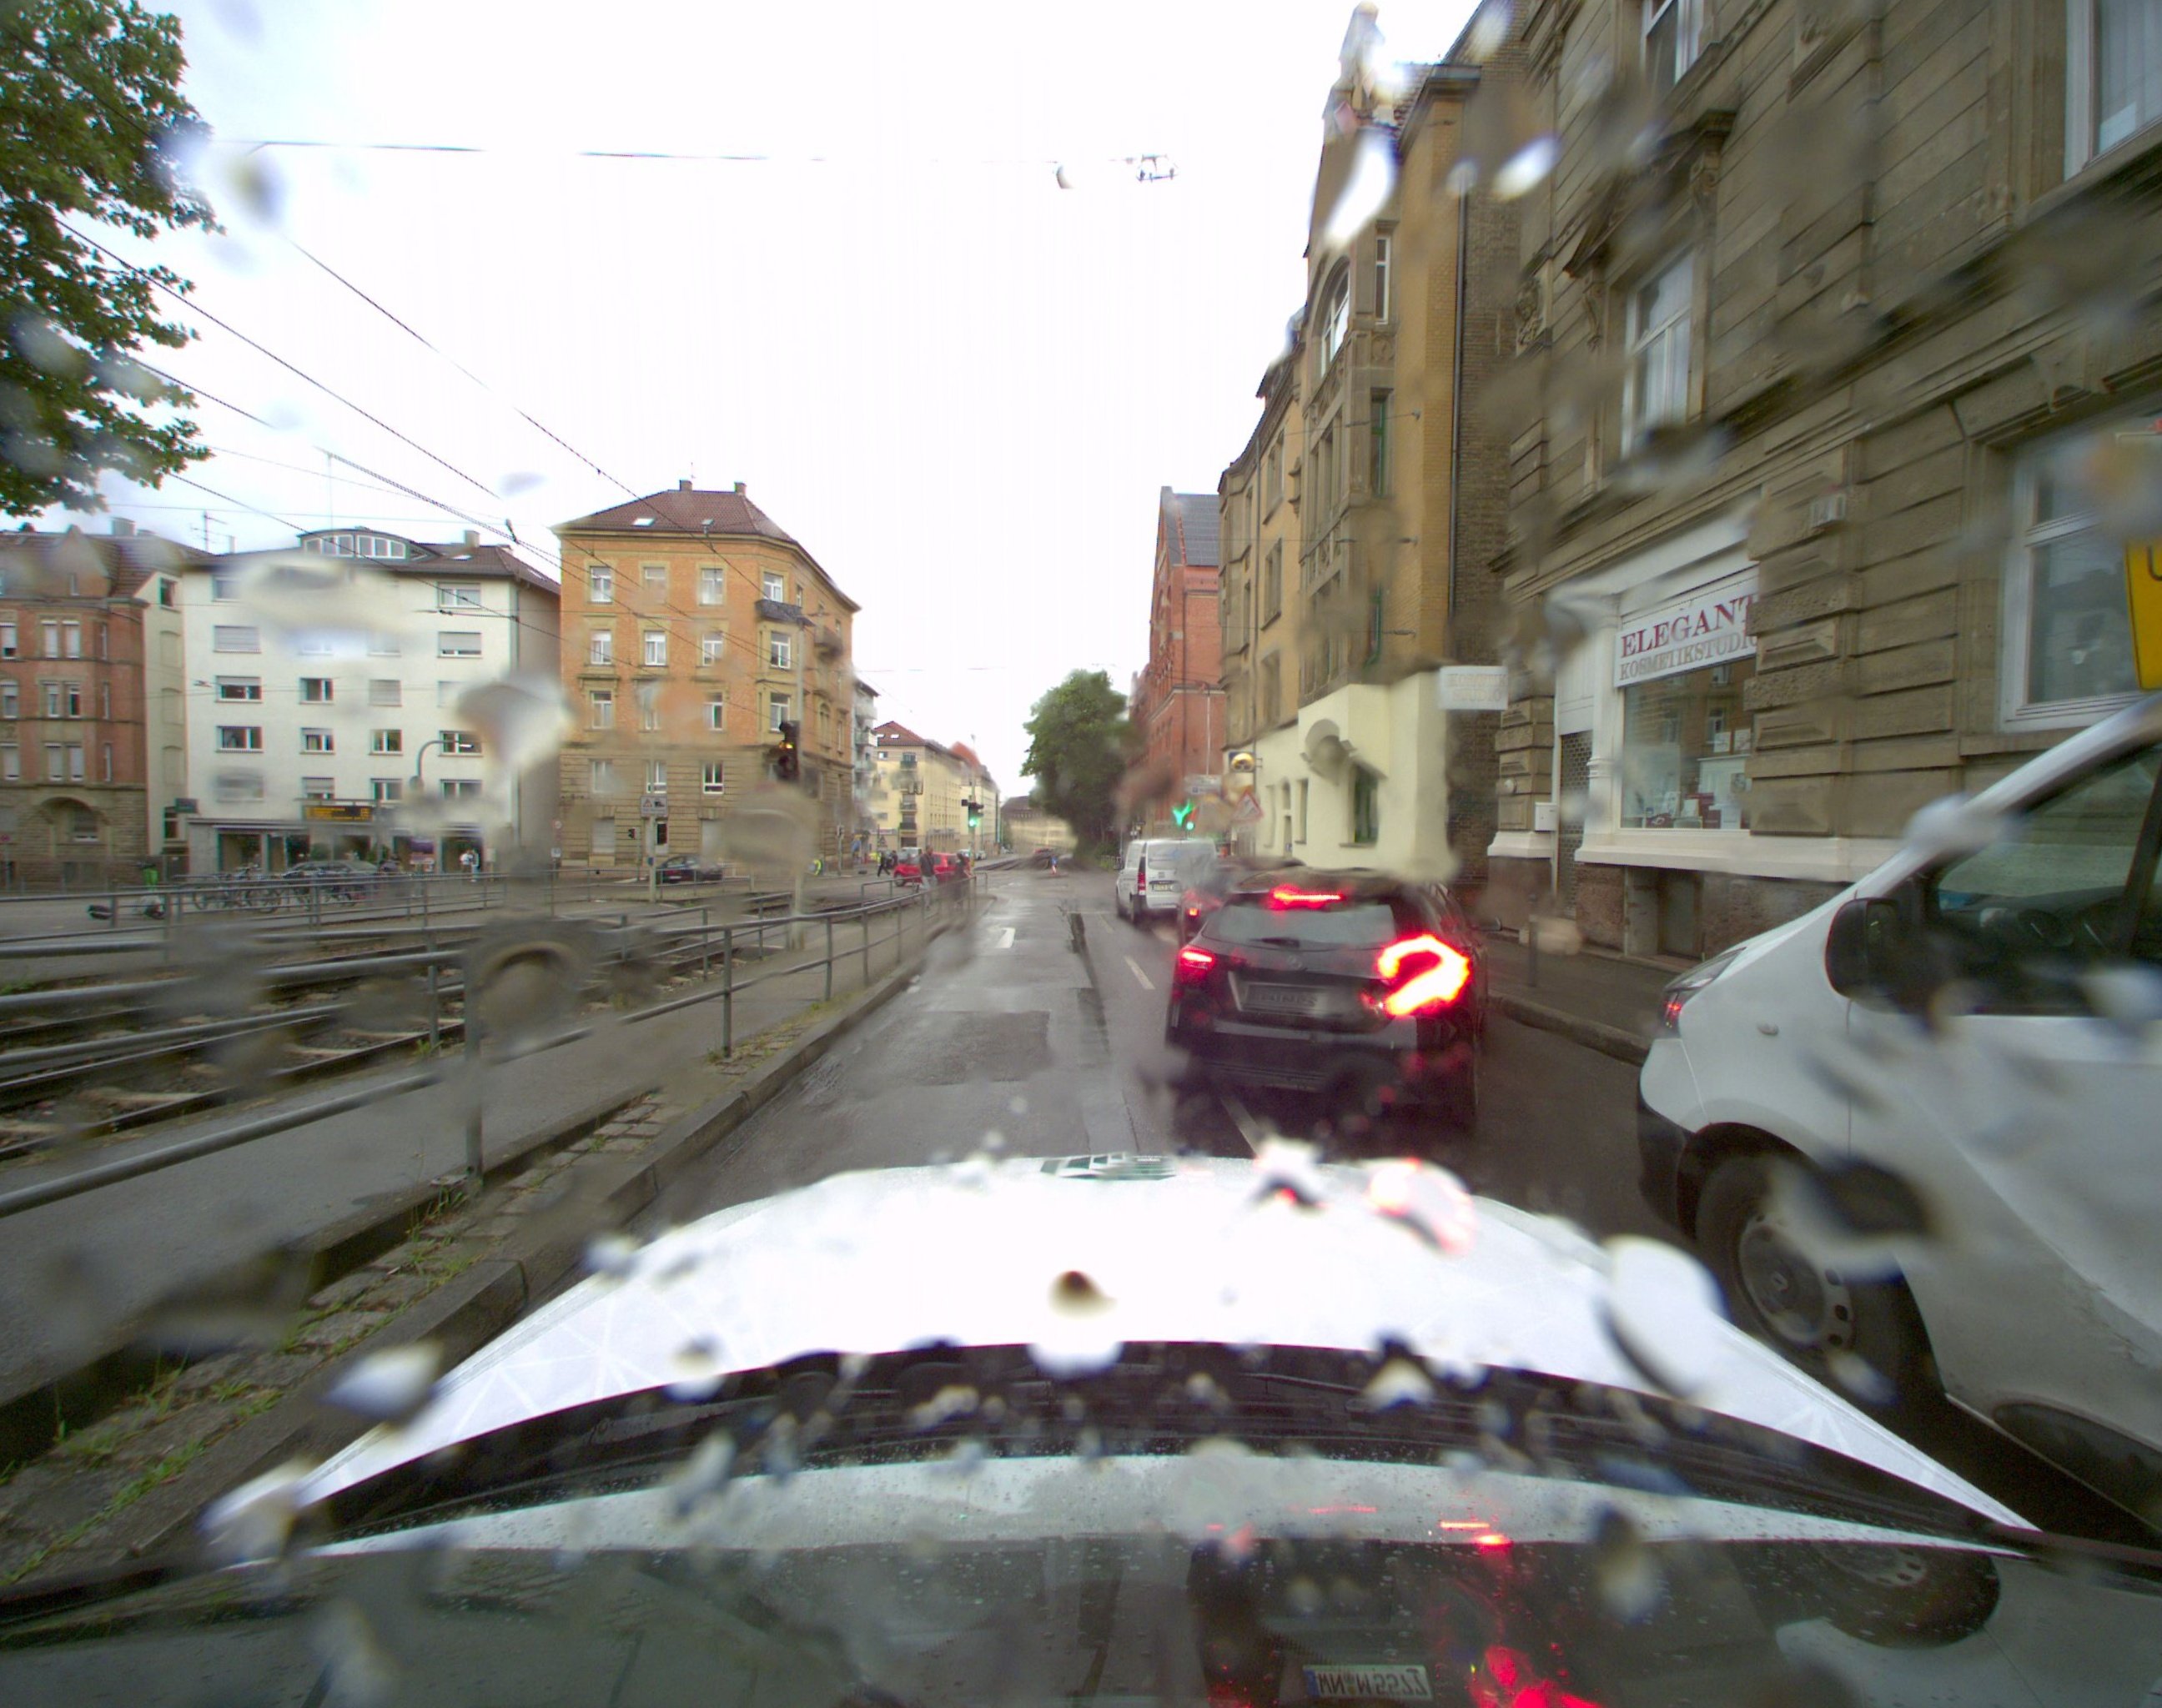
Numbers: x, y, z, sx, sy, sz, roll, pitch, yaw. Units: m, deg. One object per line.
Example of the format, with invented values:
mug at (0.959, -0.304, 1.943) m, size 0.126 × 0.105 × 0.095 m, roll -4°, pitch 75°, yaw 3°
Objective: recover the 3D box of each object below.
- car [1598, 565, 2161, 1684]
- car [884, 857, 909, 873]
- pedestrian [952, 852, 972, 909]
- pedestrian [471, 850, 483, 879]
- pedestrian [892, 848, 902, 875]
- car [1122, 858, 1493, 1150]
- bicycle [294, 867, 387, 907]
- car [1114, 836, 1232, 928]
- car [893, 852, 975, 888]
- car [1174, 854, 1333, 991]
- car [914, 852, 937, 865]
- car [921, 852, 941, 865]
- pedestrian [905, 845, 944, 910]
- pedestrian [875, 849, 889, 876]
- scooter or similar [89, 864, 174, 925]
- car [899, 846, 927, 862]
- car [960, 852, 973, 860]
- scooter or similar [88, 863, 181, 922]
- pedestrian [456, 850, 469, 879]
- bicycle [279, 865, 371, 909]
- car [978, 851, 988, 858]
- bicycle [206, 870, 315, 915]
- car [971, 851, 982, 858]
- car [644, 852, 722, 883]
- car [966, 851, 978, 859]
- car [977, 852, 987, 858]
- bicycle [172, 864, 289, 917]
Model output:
car at (2.828, 0.468, 0.620) m, size 1.915 × 1.936 × 4.684 m, roll 0°, pitch 0°, yaw 0°
car at (-15.920, 0.931, 70.432) m, size 1.448 × 1.318 × 3.292 m, roll 1°, pitch 0°, yaw -2°
pedestrian at (-3.229, 0.709, 22.065) m, size 0.531 × 1.530 × 0.435 m, roll 0°, pitch 0°, yaw -9°
pedestrian at (-34.150, 0.574, 46.045) m, size 0.520 × 1.622 × 0.480 m, roll 0°, pitch 0°, yaw -41°
pedestrian at (-11.566, 0.489, 51.177) m, size 0.516 × 1.666 × 0.477 m, roll 1°, pitch 0°, yaw 2°
car at (2.018, 0.737, 6.157) m, size 1.877 × 1.390 × 4.024 m, roll 0°, pitch 0°, yaw 28°
bicycle at (-20.461, 0.896, 22.538) m, size 1.872 × 1.065 × 0.515 m, roll 0°, pitch 0°, yaw -13°
car at (1.923, 0.545, 18.407) m, size 1.929 × 1.831 × 4.275 m, roll 0°, pitch 0°, yaw -4°
car at (-6.471, 0.682, 35.717) m, size 3.566 × 1.489 × 1.696 m, roll 0°, pitch 0°, yaw 40°
car at (2.123, 0.746, 11.052) m, size 1.704 × 1.469 × 4.288 m, roll 0°, pitch 0°, yaw 6°
car at (-15.989, 0.462, 83.908) m, size 1.675 × 1.356 × 3.701 m, roll 0°, pitch 0°, yaw -1°
car at (-16.145, 0.465, 87.735) m, size 1.495 × 1.356 × 3.160 m, roll 0°, pitch 0°, yaw -1°
pedestrian at (-4.251, 0.612, 22.091) m, size 0.745 × 1.724 × 0.732 m, roll 1°, pitch 0°, yaw -45°
pedestrian at (-12.328, 0.538, 50.422) m, size 0.675 × 1.661 × 0.677 m, roll 0°, pitch 0°, yaw 5°
scooter or similar at (-19.561, 0.813, 16.795) m, size 0.357 × 1.195 × 1.119 m, roll 0°, pitch 0°, yaw 38°
car at (-15.845, -0.006, 77.055) m, size 1.781 × 1.530 × 4.460 m, roll 0°, pitch 0°, yaw -1°
car at (-16.944, 0.223, 120.654) m, size 1.391 × 1.171 × 3.160 m, roll 0°, pitch 0°, yaw -1°
scooter or similar at (-20.008, 0.791, 17.232) m, size 0.295 × 1.195 × 1.259 m, roll 0°, pitch 0°, yaw 38°
pedestrian at (-34.831, 0.582, 45.867) m, size 0.520 × 1.622 × 0.480 m, roll 0°, pitch 0°, yaw -41°
bicycle at (-20.215, 0.868, 21.809) m, size 1.768 × 1.142 × 0.515 m, roll 0°, pitch 0°, yaw -13°
car at (-17.880, 0.100, 148.878) m, size 1.391 × 1.171 × 3.160 m, roll 0°, pitch 0°, yaw -1°
bicycle at (-19.909, 0.919, 19.795) m, size 1.872 × 1.061 × 0.515 m, roll 0°, pitch 0°, yaw -13°
car at (-17.454, 0.011, 136.329) m, size 1.391 × 1.171 × 3.160 m, roll 0°, pitch 0°, yaw -1°
car at (-19.764, 0.675, 40.544) m, size 3.142 × 1.489 × 1.424 m, roll 1°, pitch 0°, yaw -1°
car at (-16.968, 0.107, 126.953) m, size 1.391 × 1.171 × 3.160 m, roll 0°, pitch 0°, yaw -1°
car at (-17.472, 0.158, 144.400) m, size 1.391 × 1.171 × 3.160 m, roll 0°, pitch 0°, yaw -1°
bicycle at (-19.607, 0.832, 18.807) m, size 1.872 × 1.195 × 0.515 m, roll 0°, pitch 0°, yaw -13°
